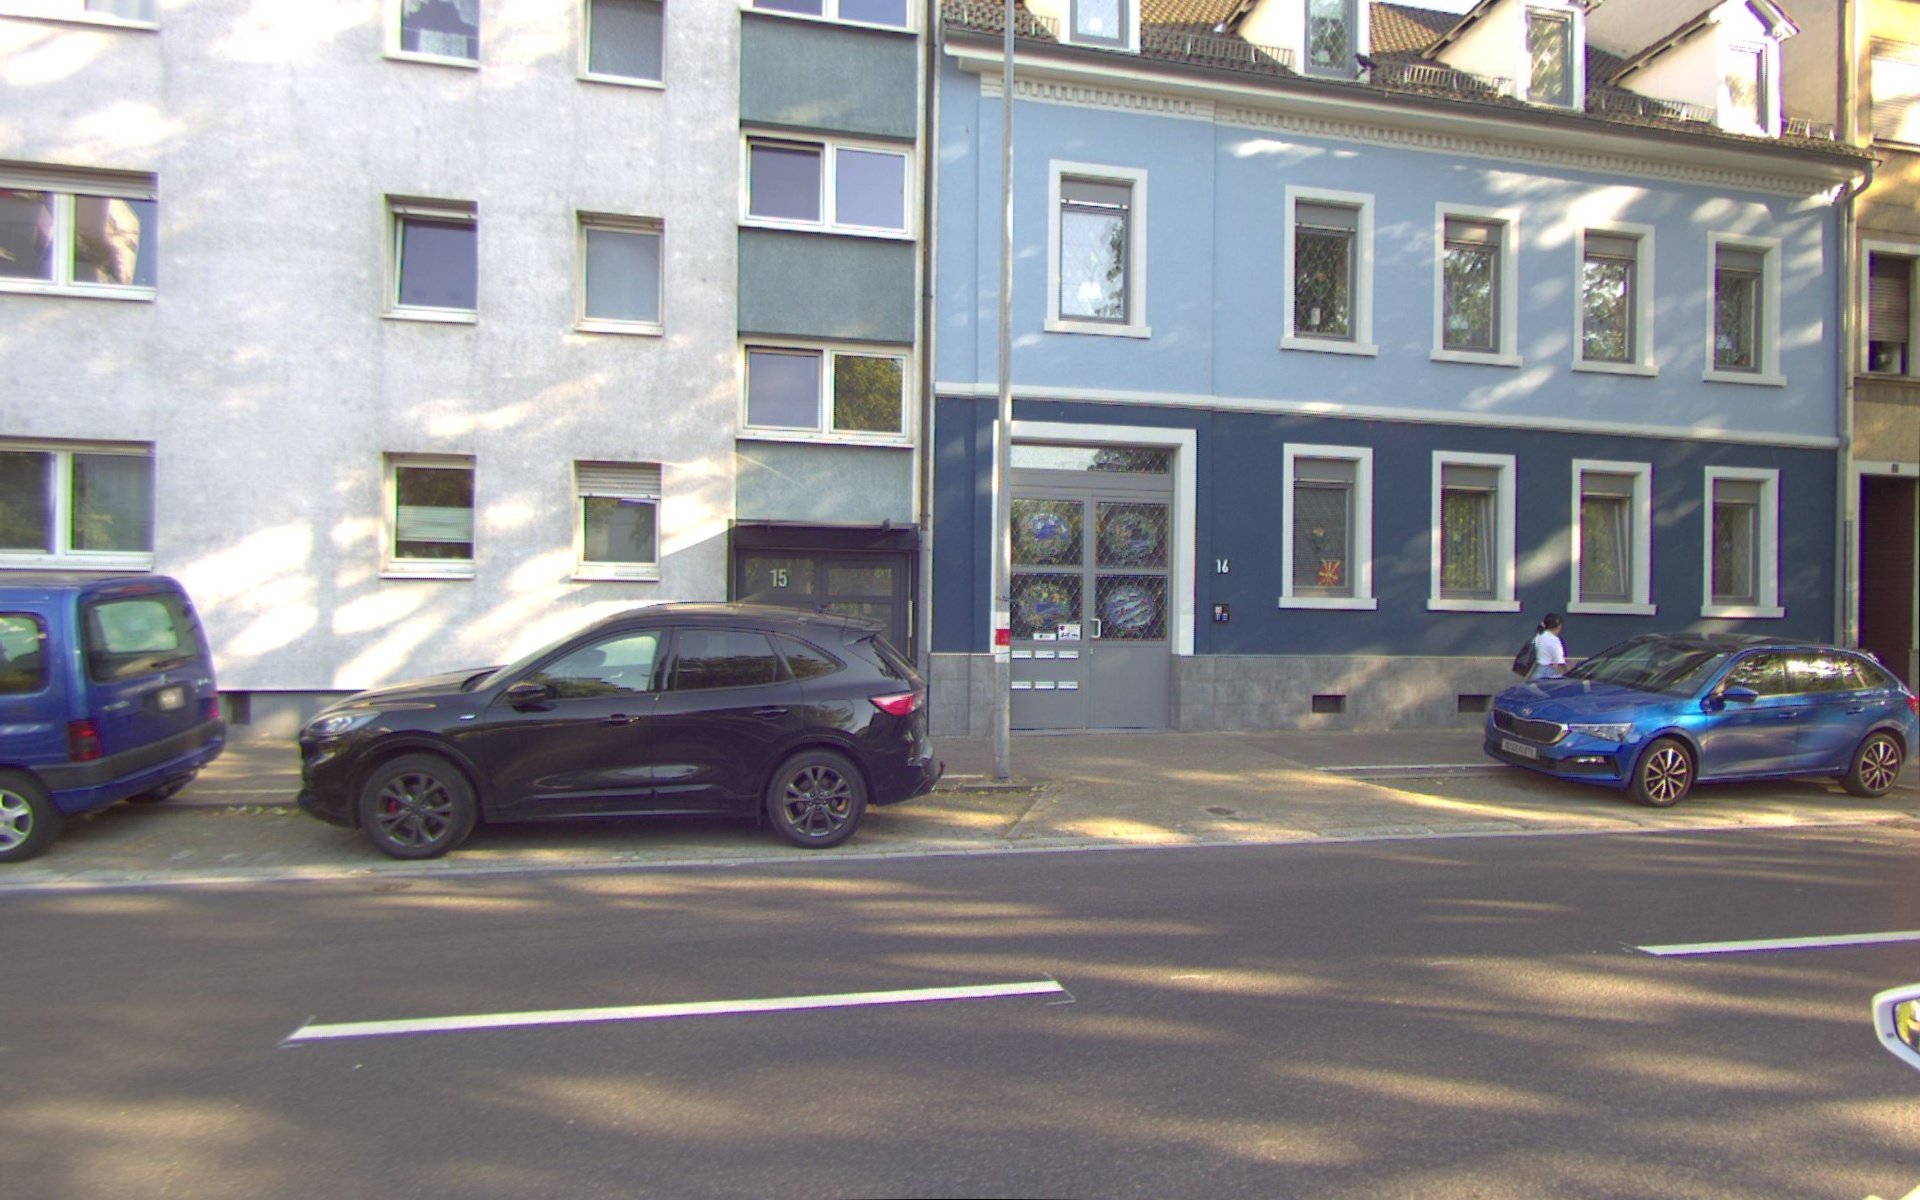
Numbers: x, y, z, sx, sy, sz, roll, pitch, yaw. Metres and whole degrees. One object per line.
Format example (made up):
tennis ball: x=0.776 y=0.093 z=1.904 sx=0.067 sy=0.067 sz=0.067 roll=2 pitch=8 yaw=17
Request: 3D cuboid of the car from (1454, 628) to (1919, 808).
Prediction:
car: x=7.374 y=1.092 z=10.134 sx=4.189 sy=1.506 sz=1.651 roll=1 pitch=1 yaw=-14

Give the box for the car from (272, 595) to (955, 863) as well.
car: x=-2.358 y=0.860 z=7.718 sx=4.410 sy=1.695 sz=1.909 roll=1 pitch=1 yaw=-9

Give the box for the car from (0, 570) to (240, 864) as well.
car: x=-7.547 y=0.702 z=6.847 sx=3.933 sy=1.843 sz=1.666 roll=1 pitch=1 yaw=-11

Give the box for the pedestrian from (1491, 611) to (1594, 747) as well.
pedestrian: x=7.069 y=0.937 z=12.219 sx=0.848 sy=1.591 sz=0.706 roll=1 pitch=-1 yaw=2
